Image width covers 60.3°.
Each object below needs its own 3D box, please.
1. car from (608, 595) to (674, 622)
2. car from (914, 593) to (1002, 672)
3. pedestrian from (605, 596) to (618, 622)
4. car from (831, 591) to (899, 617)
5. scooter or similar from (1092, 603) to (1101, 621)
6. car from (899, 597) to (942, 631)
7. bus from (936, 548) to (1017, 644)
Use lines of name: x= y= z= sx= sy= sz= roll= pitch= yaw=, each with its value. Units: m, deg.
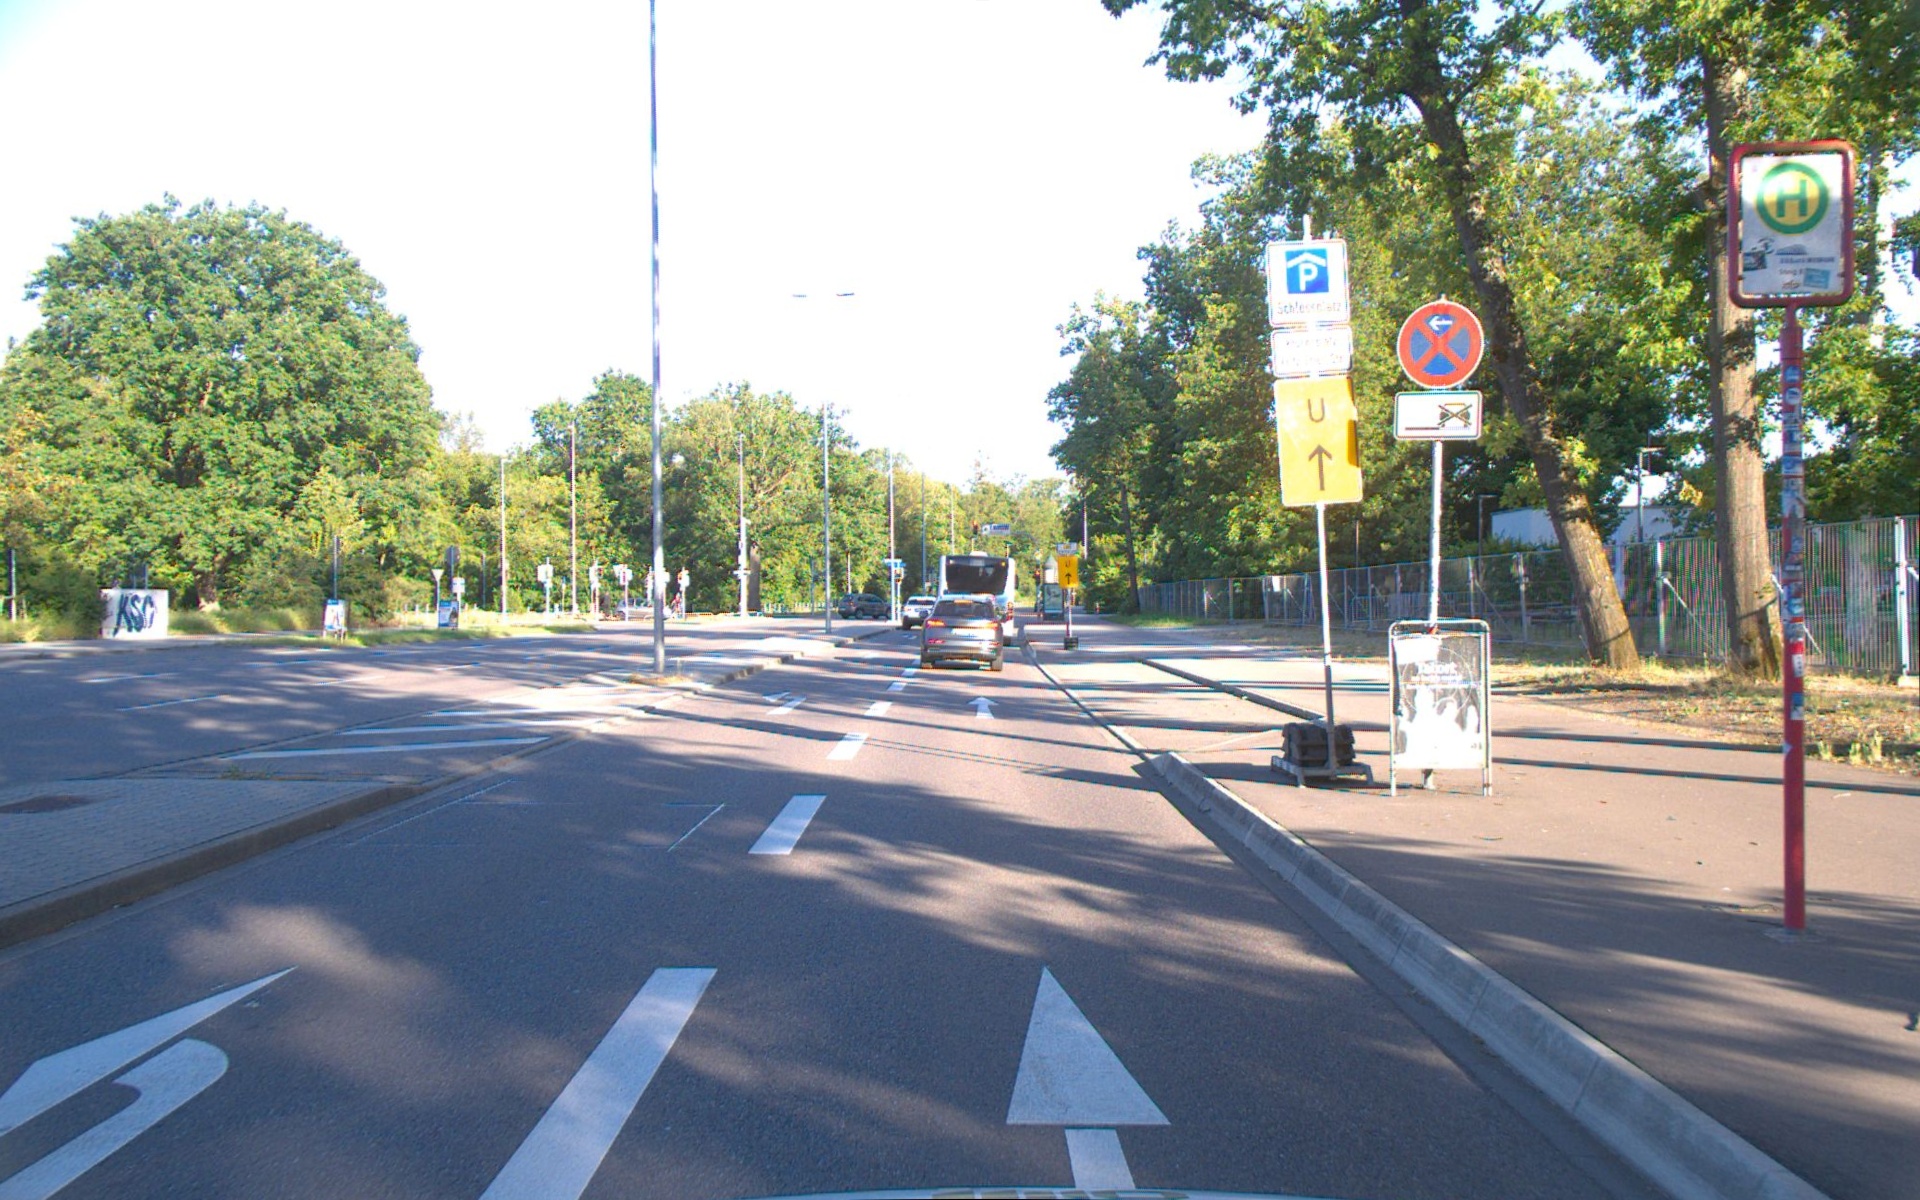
car: x=-20.688 y=0.536 z=107.259 sx=3.907 sy=1.668 sz=2.065 roll=-1 pitch=0 yaw=-2
car: x=0.008 y=0.707 z=37.931 sx=1.859 sy=1.660 sz=4.001 roll=1 pitch=0 yaw=2
pedestrian: x=-21.554 y=0.569 z=102.299 sx=0.643 sy=1.587 sz=0.531 roll=0 pitch=0 yaw=-40
car: x=-6.446 y=0.270 z=112.474 sx=4.188 sy=1.612 sz=2.076 roll=-1 pitch=0 yaw=-38
scooter or similar: x=11.537 y=0.988 z=139.715 sx=0.498 sy=1.470 sz=2.021 roll=-1 pitch=0 yaw=-3
car: x=-1.844 y=0.625 z=77.763 sx=1.798 sy=1.545 sz=4.001 roll=0 pitch=0 yaw=2
bus: x=0.684 y=-0.100 z=58.008 sx=2.541 sy=3.041 sz=9.328 roll=1 pitch=-1 yaw=2
